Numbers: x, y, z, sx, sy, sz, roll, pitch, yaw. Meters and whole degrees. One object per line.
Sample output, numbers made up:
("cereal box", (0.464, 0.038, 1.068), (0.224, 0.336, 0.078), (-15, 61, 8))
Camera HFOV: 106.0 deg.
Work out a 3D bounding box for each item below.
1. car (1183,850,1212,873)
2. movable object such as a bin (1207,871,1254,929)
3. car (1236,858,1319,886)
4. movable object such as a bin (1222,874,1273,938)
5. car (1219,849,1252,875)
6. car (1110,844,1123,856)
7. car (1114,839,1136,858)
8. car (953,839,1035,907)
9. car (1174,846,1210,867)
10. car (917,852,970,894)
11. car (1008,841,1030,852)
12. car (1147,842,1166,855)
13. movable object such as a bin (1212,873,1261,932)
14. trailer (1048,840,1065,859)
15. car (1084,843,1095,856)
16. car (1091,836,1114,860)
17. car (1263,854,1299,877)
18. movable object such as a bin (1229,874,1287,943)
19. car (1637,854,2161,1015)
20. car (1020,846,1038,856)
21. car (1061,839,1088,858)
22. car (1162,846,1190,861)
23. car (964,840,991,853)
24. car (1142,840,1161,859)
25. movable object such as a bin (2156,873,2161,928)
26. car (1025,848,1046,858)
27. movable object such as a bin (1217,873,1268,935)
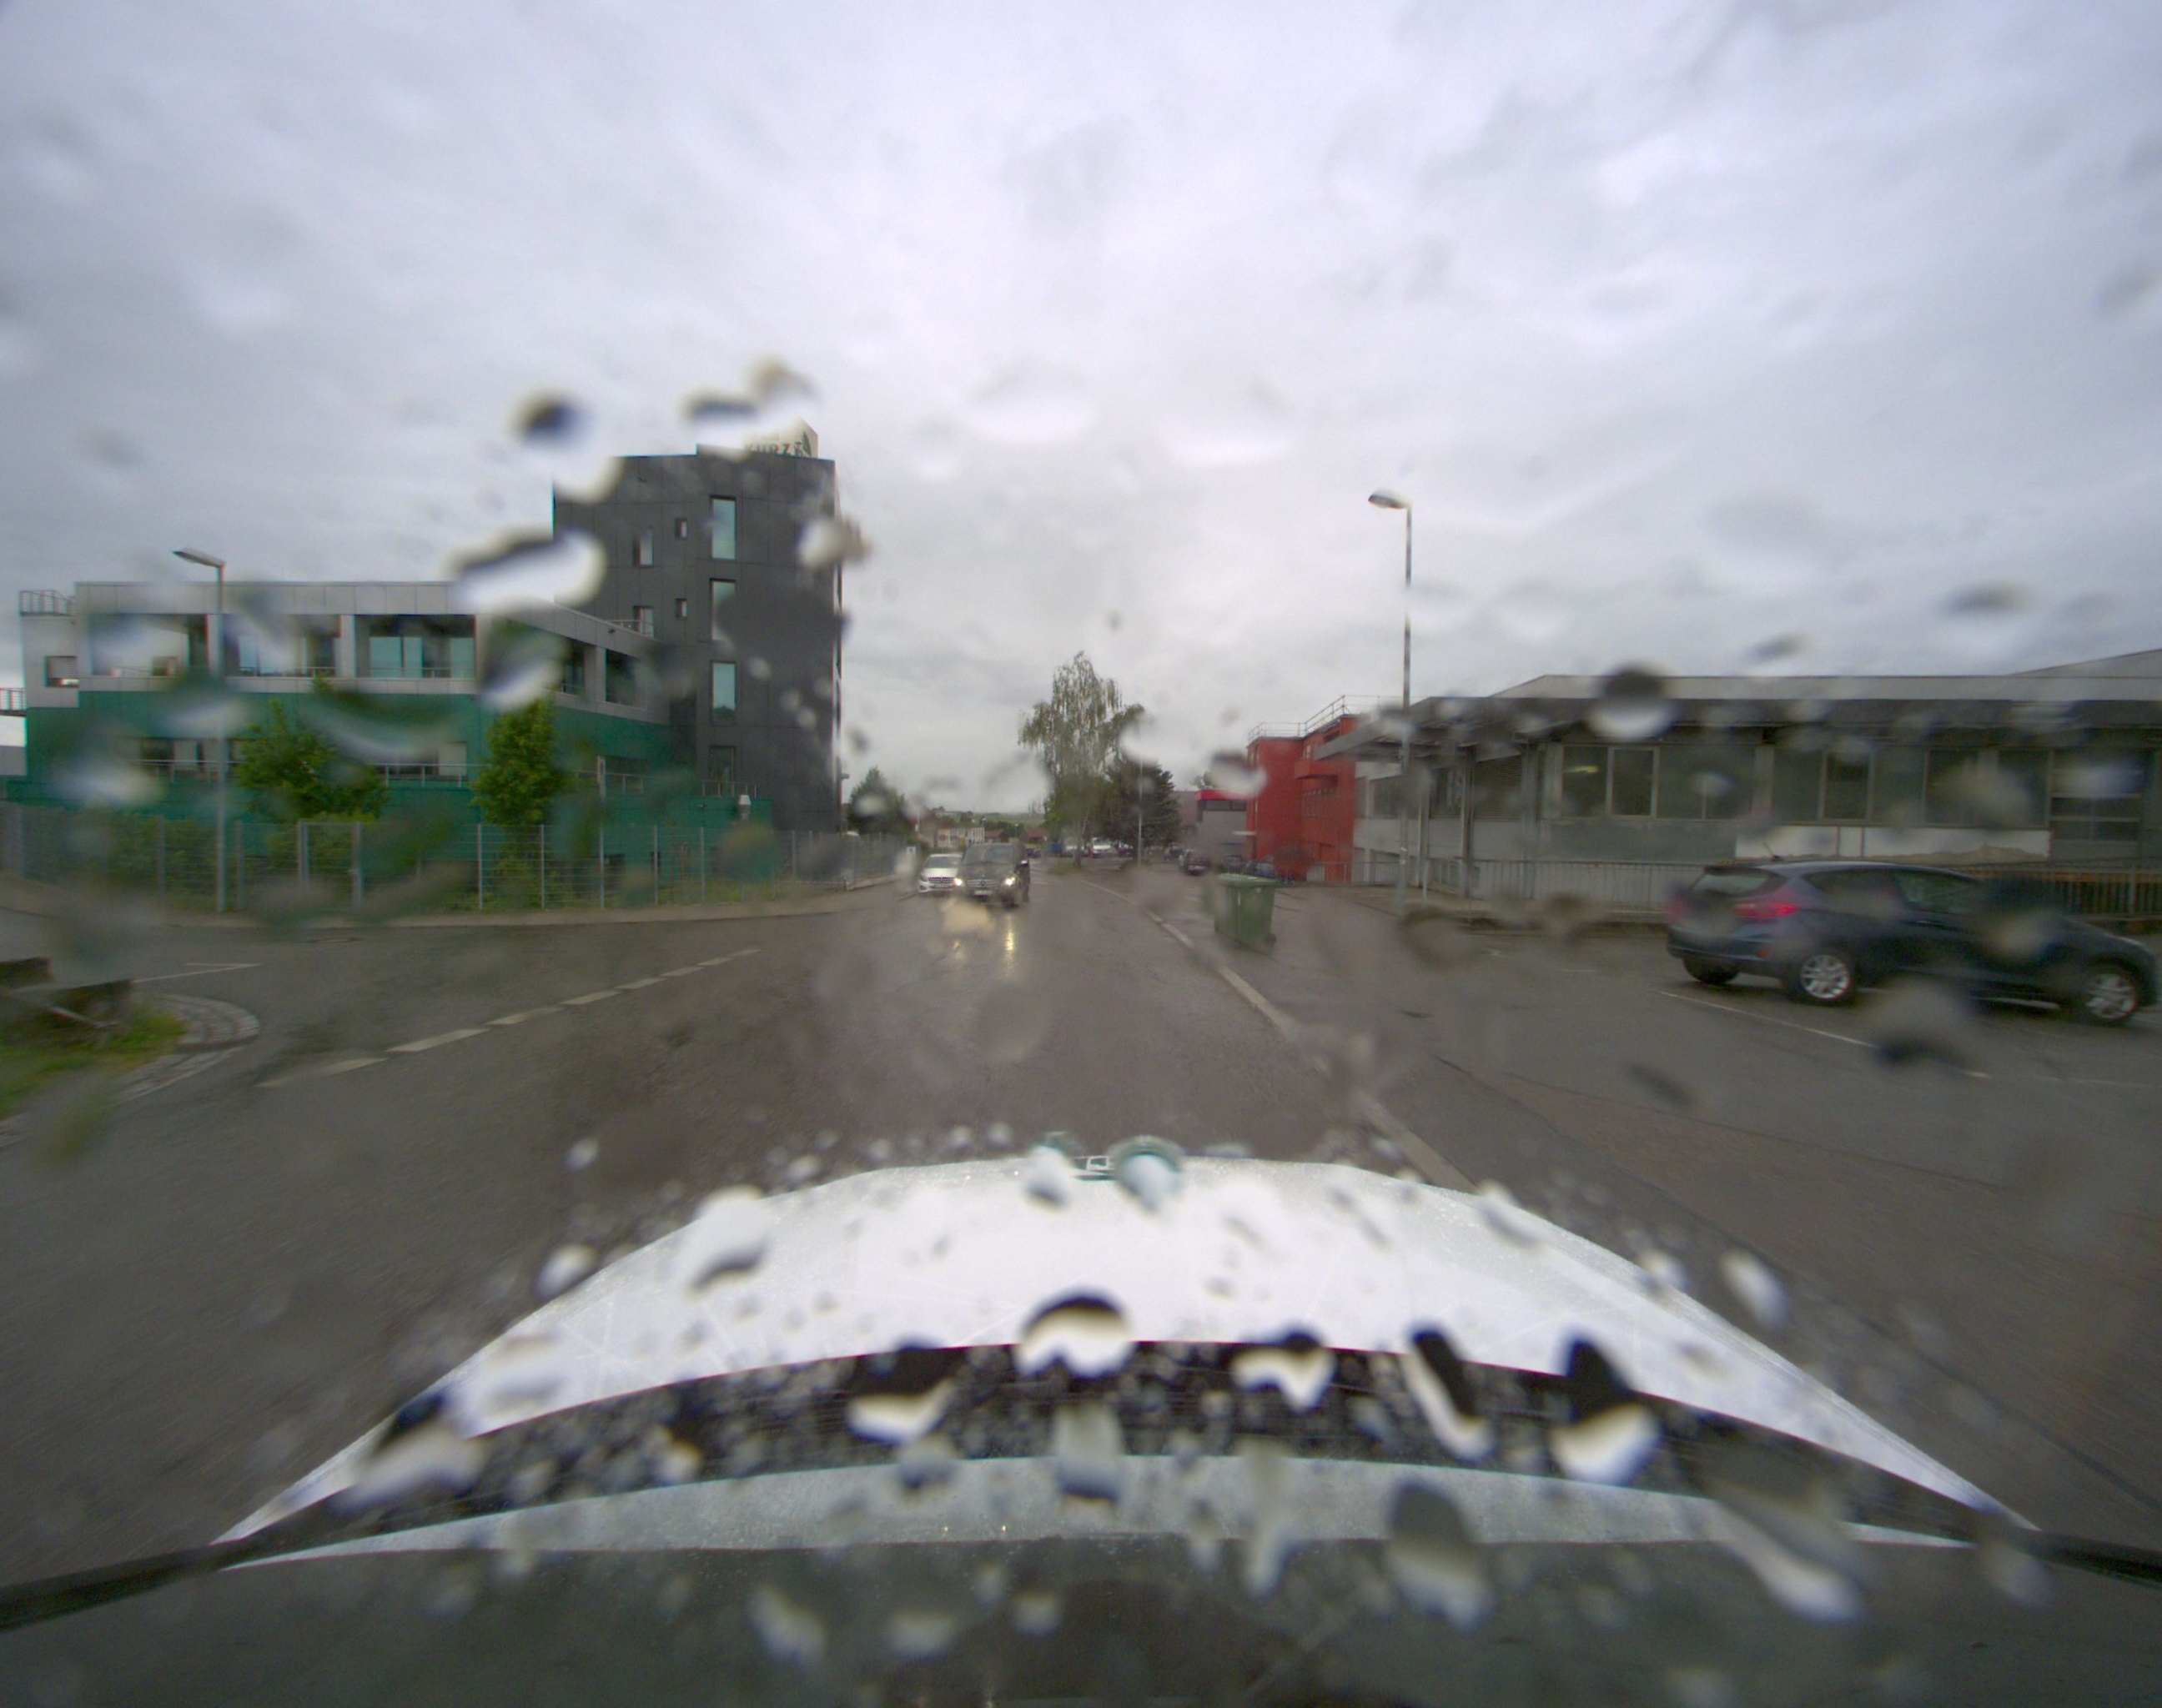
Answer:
("car", (7.630, 0.518, 53.657), (1.689, 1.475, 4.005), (0, -1, 5))
("movable object such as a bin", (2.893, 0.883, 15.805), (0.799, 1.079, 0.624), (0, 0, 0))
("car", (8.552, 0.762, 35.666), (3.382, 1.163, 1.795), (1, 0, 7))
("movable object such as a bin", (2.870, 0.889, 14.062), (0.772, 1.076, 0.583), (0, 0, 0))
("car", (10.237, 0.557, 54.185), (1.731, 1.653, 4.005), (0, -1, 5))
("car", (4.194, -0.431, 95.664), (1.394, 1.326, 2.699), (0, -1, -1))
("car", (4.840, -0.538, 89.946), (2.139, 2.014, 3.937), (0, -1, -1))
("car", (-2.562, 0.513, 25.149), (1.878, 1.886, 5.072), (0, 0, 1))
("car", (8.288, 0.205, 61.121), (2.060, 1.552, 3.996), (0, -1, -3))
("car", (-5.238, 0.724, 31.434), (1.768, 1.513, 4.136), (0, -1, -6))
("car", (-12.880, -1.469, 169.724), (4.213, 2.226, 2.006), (0, -1, 11))
("car", (8.890, -0.589, 95.903), (1.634, 1.453, 3.506), (0, -1, -4))
("movable object such as a bin", (2.892, 0.893, 15.199), (0.806, 1.076, 0.581), (0, 0, 0))
("trailer", (-2.825, -0.513, 93.182), (1.848, 2.013, 3.996), (1, 0, -2))
("car", (0.975, -0.491, 94.915), (1.286, 1.424, 2.545), (0, -1, -1))
("car", (2.305, -0.614, 89.189), (2.188, 2.459, 3.995), (0, -1, -3))
("car", (12.964, 0.729, 53.057), (1.721, 1.422, 4.005), (0, -1, 5))
("movable object such as a bin", (2.908, 0.883, 13.409), (0.804, 1.092, 0.709), (0, 0, 0))
("car", (8.498, 0.773, 8.664), (3.877, 1.383, 1.823), (2, -1, 4))
("car", (-9.024, -0.505, 140.872), (2.001, 1.704, 3.971), (1, -1, -21))
("car", (-0.721, -0.583, 88.991), (2.265, 2.014, 3.986), (0, -1, -10))
("car", (8.833, -0.016, 75.781), (2.539, 1.352, 1.242), (1, 0, 0))
("car", (-16.278, -1.178, 128.161), (3.968, 1.882, 2.003), (1, 0, 5))
("car", (7.803, -0.520, 90.113), (1.776, 2.014, 3.630), (0, -1, -1))
("movable object such as a bin", (25.331, 1.076, 18.448), (0.989, 1.263, 0.684), (1, 0, 7))
("car", (-7.569, -0.105, 135.165), (2.470, 1.539, 3.971), (1, -1, -21))
("movable object such as a bin", (2.889, 0.888, 14.638), (0.806, 1.090, 0.541), (0, 0, 0))
